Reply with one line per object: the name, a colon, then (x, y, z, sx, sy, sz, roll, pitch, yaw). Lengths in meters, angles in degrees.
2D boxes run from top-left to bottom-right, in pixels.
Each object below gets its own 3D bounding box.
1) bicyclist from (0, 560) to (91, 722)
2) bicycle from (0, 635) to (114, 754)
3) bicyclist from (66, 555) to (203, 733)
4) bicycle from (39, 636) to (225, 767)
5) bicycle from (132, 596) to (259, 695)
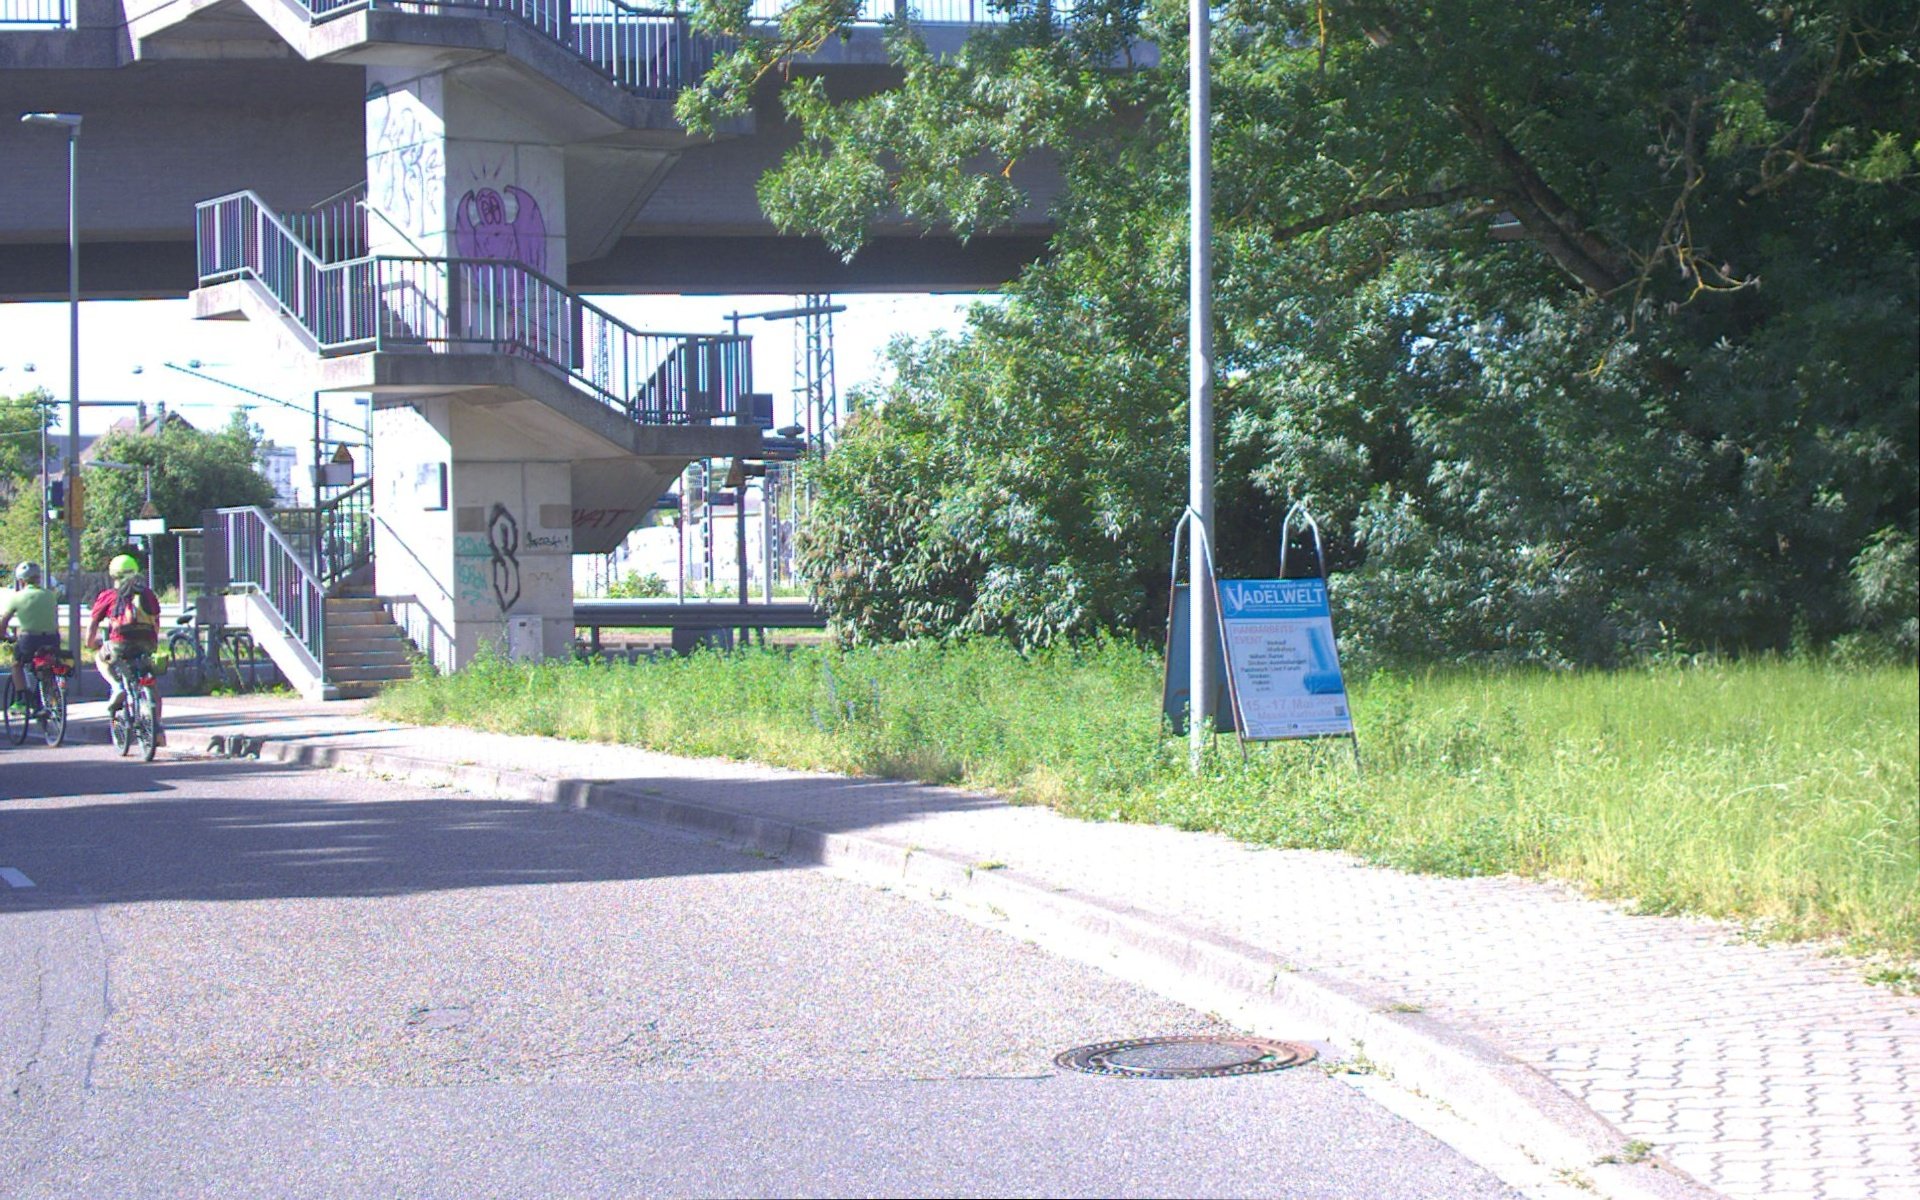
bicyclist: (-8.780, 0.376, 32.425, 0.841, 1.483, 0.923, -2, 1, -34)
bicycle: (-8.792, 0.875, 32.447, 0.841, 1.048, 2.189, -2, 1, -34)
bicyclist: (-7.069, 0.367, 29.424, 0.841, 1.483, 0.923, -2, 1, -33)
bicycle: (-7.131, 0.850, 29.531, 0.841, 1.048, 2.189, -2, 1, -33)
bicycle: (-9.429, 0.556, 42.339, 0.597, 1.178, 2.180, -2, 1, -39)
